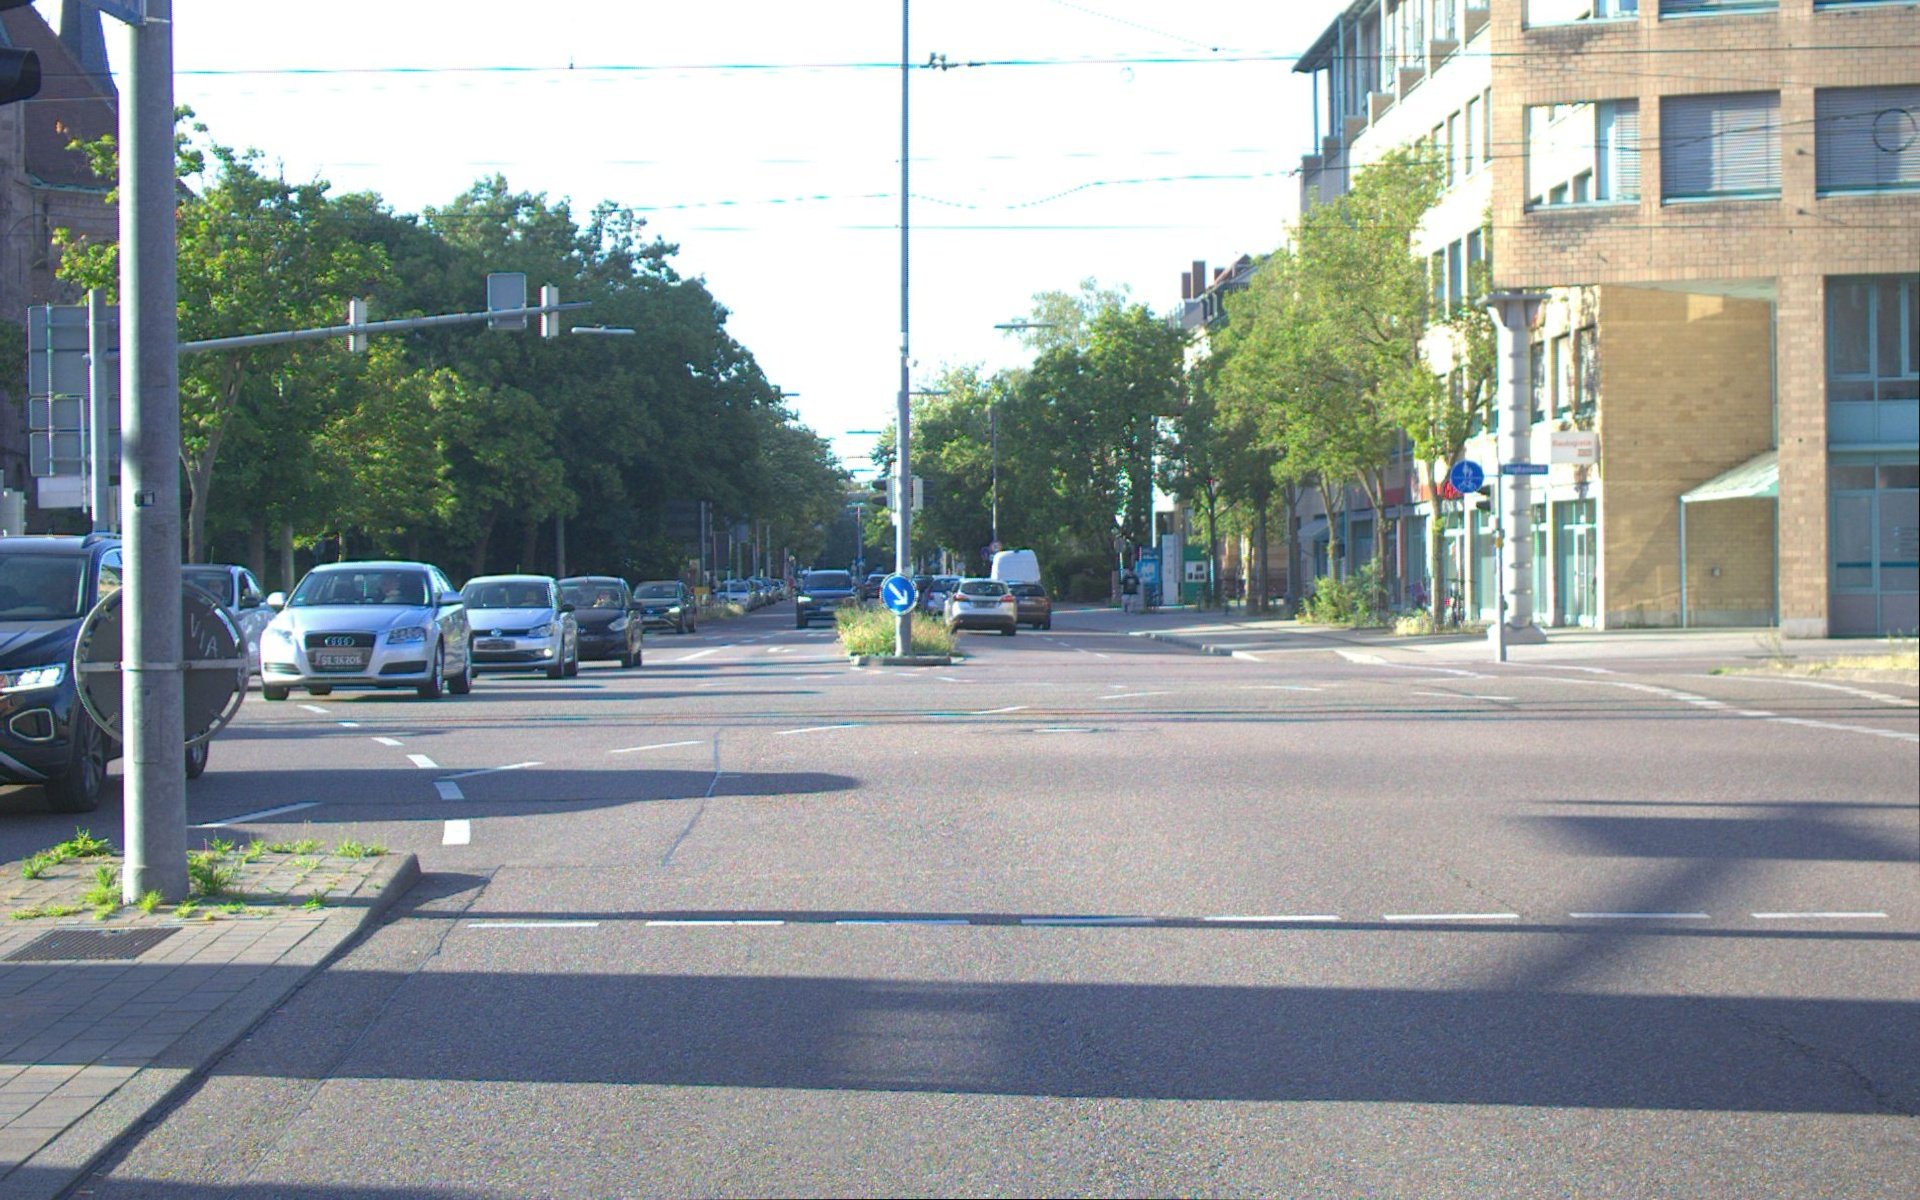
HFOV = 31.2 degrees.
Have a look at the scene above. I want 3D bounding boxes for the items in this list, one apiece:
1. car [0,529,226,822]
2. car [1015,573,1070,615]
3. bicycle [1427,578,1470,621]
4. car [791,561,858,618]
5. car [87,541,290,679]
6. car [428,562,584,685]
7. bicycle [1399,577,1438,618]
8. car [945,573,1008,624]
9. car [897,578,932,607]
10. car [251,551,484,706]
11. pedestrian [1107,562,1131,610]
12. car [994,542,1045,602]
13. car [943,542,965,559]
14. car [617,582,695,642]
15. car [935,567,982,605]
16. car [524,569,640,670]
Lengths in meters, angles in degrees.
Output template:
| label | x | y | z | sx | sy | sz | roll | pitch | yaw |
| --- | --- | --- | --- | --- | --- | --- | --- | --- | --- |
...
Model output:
| label | x | y | z | sx | sy | sz | roll | pitch | yaw |
| --- | --- | --- | --- | --- | --- | --- | --- | --- | --- |
| car | -5.649 | 0.383 | 20.314 | 1.675 | 1.539 | 4.102 | -2 | 1 | 0 |
| car | 2.537 | -0.198 | 106.772 | 1.594 | 1.263 | 3.266 | 0 | 1 | -1 |
| bicycle | 11.452 | -0.025 | 80.628 | 0.646 | 0.991 | 2.081 | 0 | 0 | -1 |
| car | -4.201 | -0.312 | 107.090 | 1.993 | 1.718 | 5.031 | -1 | 0 | -1 |
| car | -9.401 | 0.084 | 42.147 | 1.675 | 1.539 | 3.638 | -2 | 1 | -1 |
| car | -6.296 | 0.294 | 47.979 | 1.675 | 1.539 | 3.806 | -2 | 1 | -1 |
| bicycle | 11.352 | -0.070 | 85.163 | 0.646 | 0.991 | 2.081 | 0 | 0 | -1 |
| car | 0.417 | -0.054 | 89.696 | 1.594 | 1.263 | 3.266 | 0 | 1 | -1 |
| car | -2.062 | -0.371 | 156.698 | 1.594 | 1.263 | 3.266 | 0 | 1 | -1 |
| car | -6.033 | 0.246 | 35.415 | 1.708 | 1.420 | 4.103 | -2 | 1 | -1 |
| pedestrian | 6.053 | -0.539 | 130.890 | 0.847 | 1.797 | 0.776 | 0 | 1 | -1 |
| car | 2.488 | -1.182 | 145.038 | 1.993 | 2.432 | 4.000 | 1 | 0 | -1 |
| car | -0.432 | -3.694 | 255.991 | 1.594 | 1.263 | 3.266 | 0 | 1 | -1 |
| car | -8.970 | 0.349 | 101.768 | 1.993 | 1.718 | 4.593 | -1 | 0 | -1 |
| car | -0.073 | -0.509 | 119.712 | 1.594 | 1.263 | 3.266 | 0 | 1 | -1 |
| car | -6.311 | 0.299 | 57.681 | 1.578 | 1.539 | 3.477 | -2 | 1 | -1 |
